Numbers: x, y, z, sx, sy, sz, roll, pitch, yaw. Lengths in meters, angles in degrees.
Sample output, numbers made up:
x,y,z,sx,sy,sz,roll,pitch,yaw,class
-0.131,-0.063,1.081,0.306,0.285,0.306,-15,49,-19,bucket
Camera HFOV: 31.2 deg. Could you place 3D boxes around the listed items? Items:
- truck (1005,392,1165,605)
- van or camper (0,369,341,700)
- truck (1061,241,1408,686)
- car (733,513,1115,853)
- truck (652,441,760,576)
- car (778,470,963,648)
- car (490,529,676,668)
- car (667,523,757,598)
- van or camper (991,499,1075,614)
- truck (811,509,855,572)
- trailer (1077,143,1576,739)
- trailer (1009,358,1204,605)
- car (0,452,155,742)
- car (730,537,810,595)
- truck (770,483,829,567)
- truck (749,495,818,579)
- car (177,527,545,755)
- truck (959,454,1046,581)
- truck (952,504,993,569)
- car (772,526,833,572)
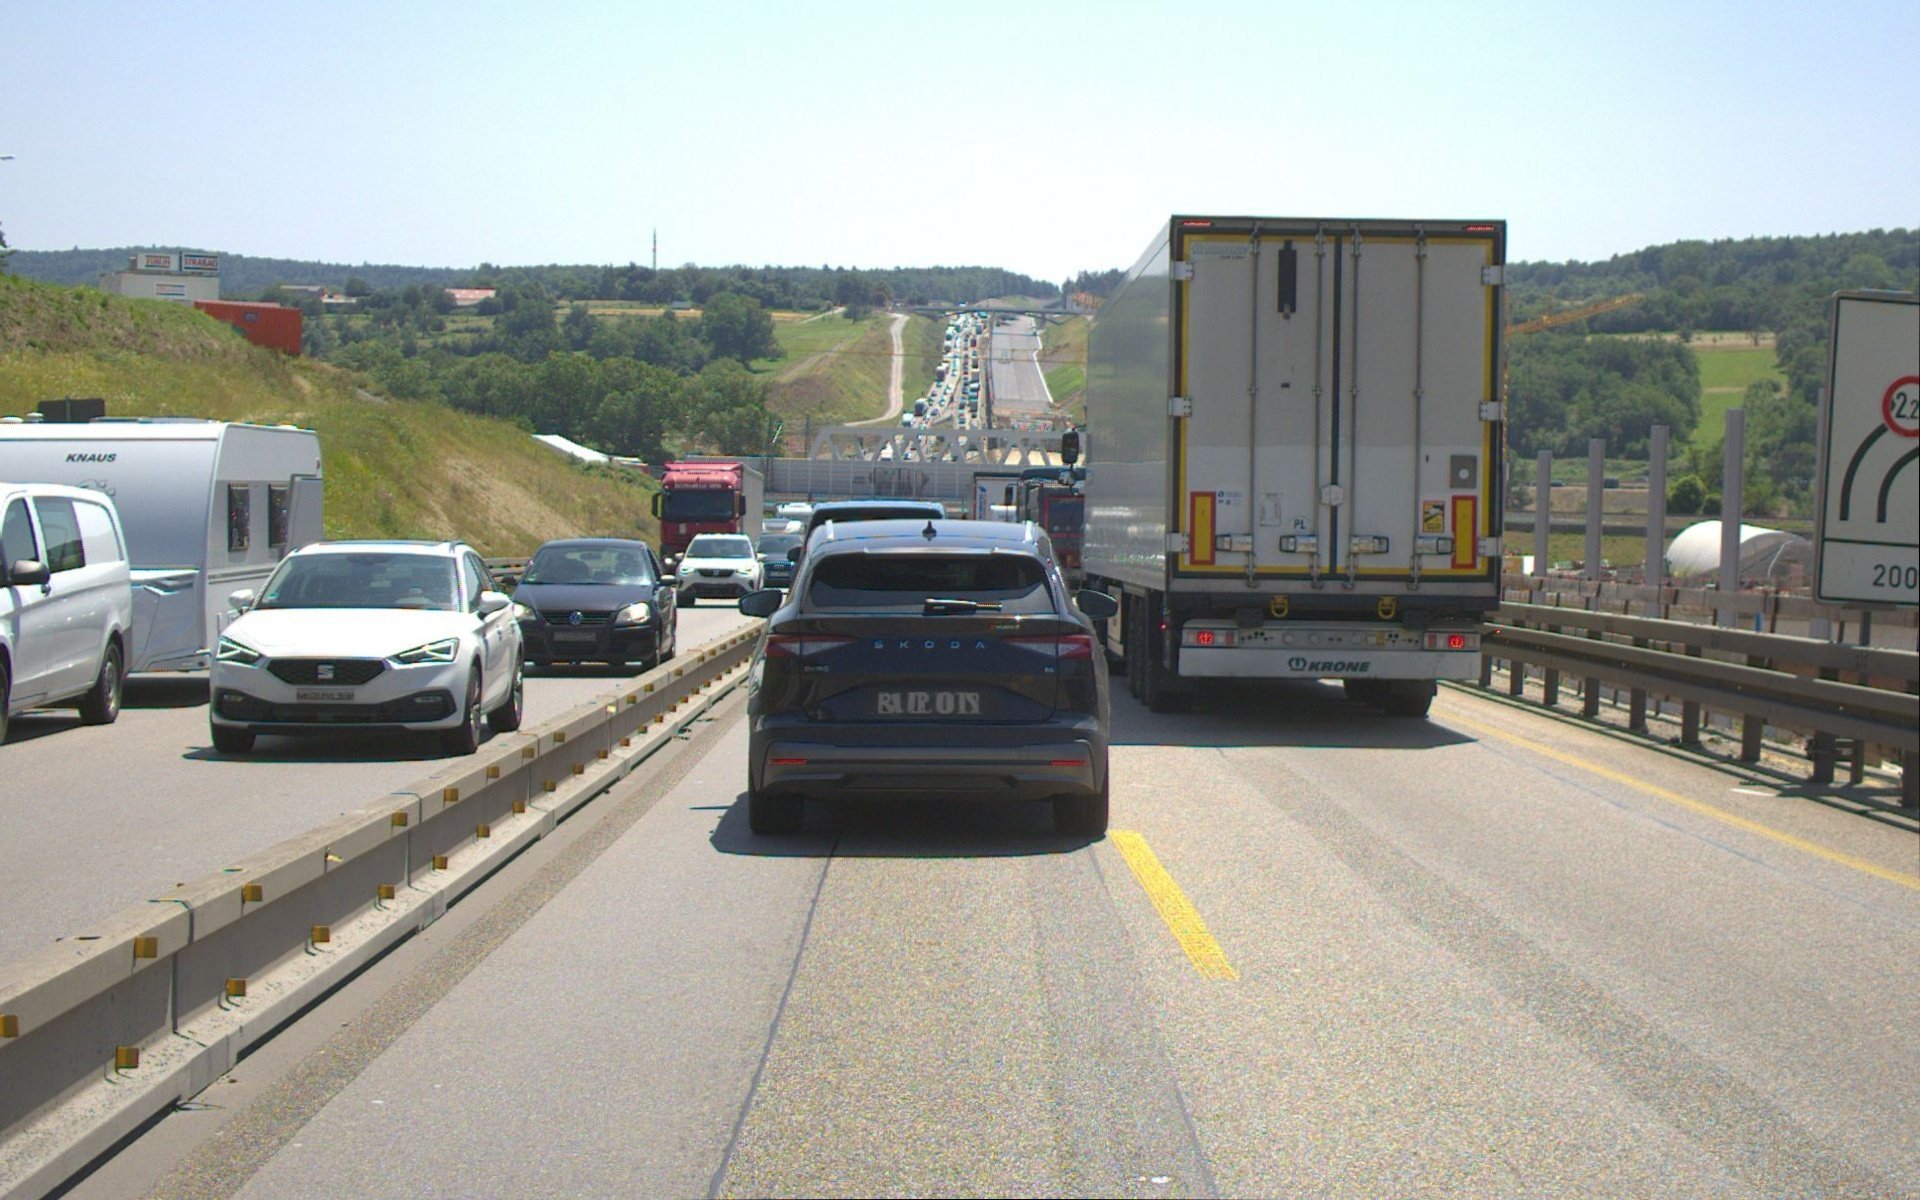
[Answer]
x,y,z,sx,sy,sz,roll,pitch,yaw,class
2.728,-2.166,77.622,3.180,4.498,8.165,1,0,0,truck
-7.572,-0.614,31.719,2.357,2.667,7.858,0,1,0,van or camper
2.924,-1.493,39.245,3.180,4.497,8.166,1,1,0,truck
-0.164,0.379,18.410,1.802,1.602,4.000,1,0,0,car
-8.350,-2.933,114.407,2.852,4.125,11.918,1,0,-1,truck
-1.000,-0.446,39.772,1.993,1.919,4.508,1,0,-1,car
-4.044,-0.048,37.317,1.665,1.408,3.818,1,1,-1,car
-5.203,-0.851,72.551,1.792,1.513,3.999,0,1,-3,car
2.182,-1.228,101.521,2.389,3.269,6.468,1,0,2,van or camper
-9.150,-4.247,248.313,2.852,4.323,11.918,1,0,-1,truck
3.011,-1.366,32.749,3.180,4.497,13.109,1,1,0,trailer
2.797,-2.171,70.646,3.180,4.498,14.967,1,0,0,trailer
-7.499,-0.063,25.109,1.993,1.964,5.343,1,1,0,car
-5.119,-0.929,92.954,1.993,1.525,4.000,0,1,-1,car
-8.751,-4.048,188.775,2.852,4.323,11.918,1,0,-1,truck
-8.458,-2.970,165.556,2.852,3.769,11.918,1,0,-1,truck
-4.201,0.222,24.822,1.912,1.475,4.637,1,1,-1,car
1.519,-2.989,129.047,2.852,4.450,11.918,1,0,-1,truck
0.816,-4.263,232.721,2.640,4.179,9.284,1,0,0,truck
-5.240,-1.697,114.734,1.862,1.471,4.000,1,1,-1,car
